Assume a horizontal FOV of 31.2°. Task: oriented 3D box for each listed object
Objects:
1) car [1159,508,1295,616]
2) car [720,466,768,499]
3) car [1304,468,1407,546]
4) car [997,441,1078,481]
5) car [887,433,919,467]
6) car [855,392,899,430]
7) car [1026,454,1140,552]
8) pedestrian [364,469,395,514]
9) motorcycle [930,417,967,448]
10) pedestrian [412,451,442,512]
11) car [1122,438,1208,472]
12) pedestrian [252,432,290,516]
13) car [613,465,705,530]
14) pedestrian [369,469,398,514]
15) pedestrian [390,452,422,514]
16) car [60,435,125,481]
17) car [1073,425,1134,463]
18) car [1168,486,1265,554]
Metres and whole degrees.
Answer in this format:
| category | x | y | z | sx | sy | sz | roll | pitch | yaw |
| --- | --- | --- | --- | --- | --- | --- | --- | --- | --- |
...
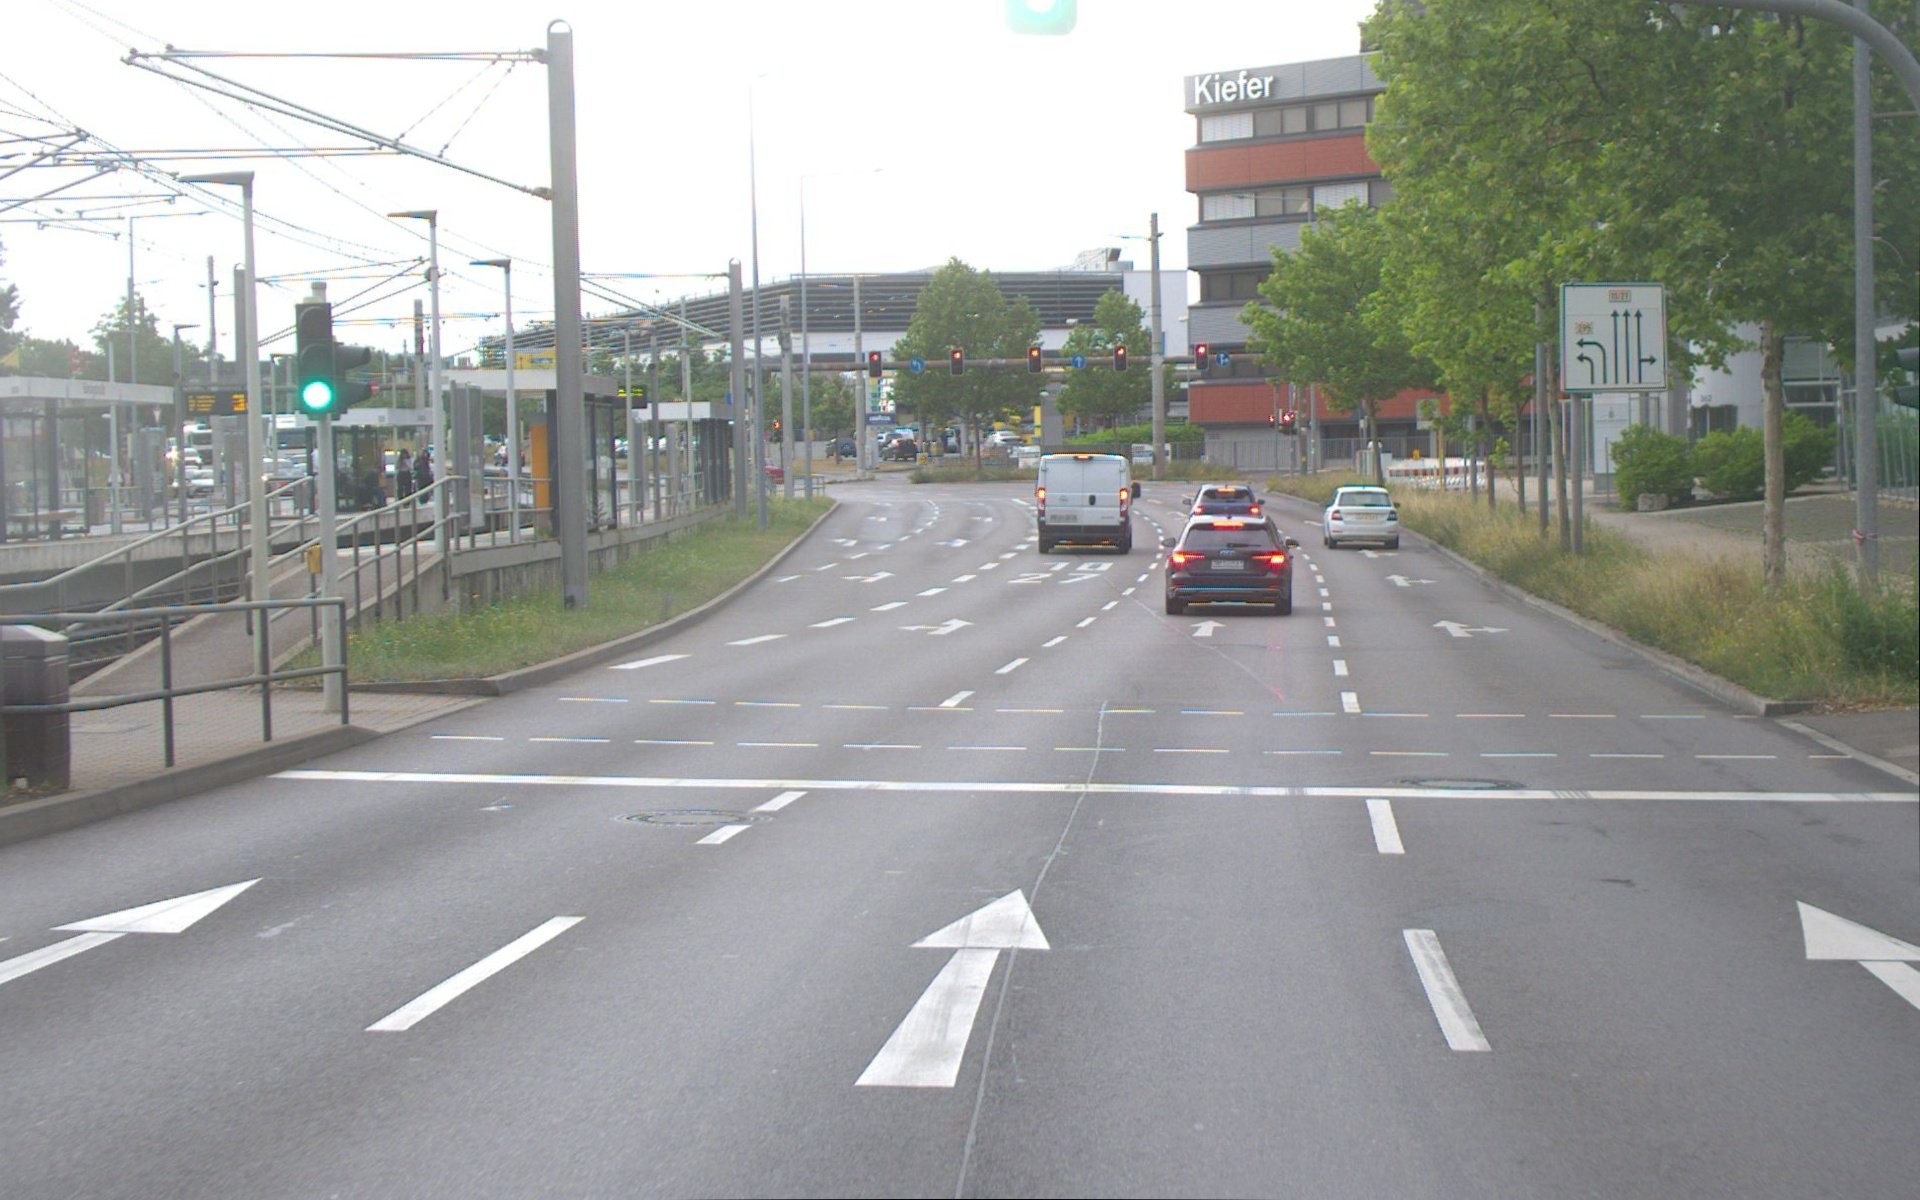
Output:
| category | x | y | z | sx | sy | sz | roll | pitch | yaw |
| --- | --- | --- | --- | --- | --- | --- | --- | --- | --- |
| car | 3.927 | -0.586 | 50.044 | 1.764 | 1.458 | 4.626 | 1 | 2 | 7 |
| car | -10.624 | -5.783 | 169.047 | 2.021 | 1.617 | 4.001 | 0 | 2 | -8 |
| car | 9.406 | -2.238 | 82.067 | 2.021 | 1.763 | 4.001 | 0 | 3 | 1 |
| car | 4.015 | -7.181 | 177.639 | 1.994 | 2.007 | 3.999 | 0 | 2 | -40 |
| car | -3.706 | -9.724 | 222.604 | 1.817 | 2.007 | 3.471 | 0 | -1 | -5 |
| car | -4.995 | -11.322 | 206.178 | 1.993 | 2.007 | 4.001 | 0 | -1 | -10 |
| car | 2.823 | -2.239 | 78.681 | 2.511 | 2.169 | 5.150 | 0 | 2 | 2 |
| pedestrian | -16.167 | -3.018 | 95.751 | 0.726 | 1.248 | 0.731 | 0 | 1 | -1 |
| motorcycle | -0.862 | -11.958 | 245.481 | 1.993 | 2.007 | 4.001 | 0 | -1 | -10 |
| pedestrian | -15.738 | -3.493 | 101.476 | 0.752 | 1.745 | 0.764 | 0 | -1 | 1 |
| car | 9.975 | -7.035 | 167.600 | 2.022 | 1.617 | 3.999 | -1 | 2 | -40 |
| pedestrian | -16.937 | -3.093 | 84.536 | 0.855 | 2.007 | 1.041 | 0 | -1 | -9 |
| car | -7.731 | -2.657 | 88.508 | 1.993 | 1.447 | 3.849 | 0 | 5 | 1 |
| pedestrian | -16.192 | -3.034 | 96.565 | 0.726 | 1.248 | 0.731 | 0 | 1 | -1 |
| pedestrian | -15.319 | -3.236 | 95.083 | 0.729 | 1.709 | 0.831 | 0 | 1 | 2 |
| car | -42.163 | -6.879 | 167.074 | 1.993 | 2.007 | 4.000 | 1 | -1 | -31 |
| car | 8.358 | -9.082 | 200.491 | 1.993 | 2.007 | 4.001 | 0 | -1 | -24 |
| car | 6.321 | -1.996 | 85.120 | 2.021 | 1.617 | 4.001 | 0 | 2 | -1 |
